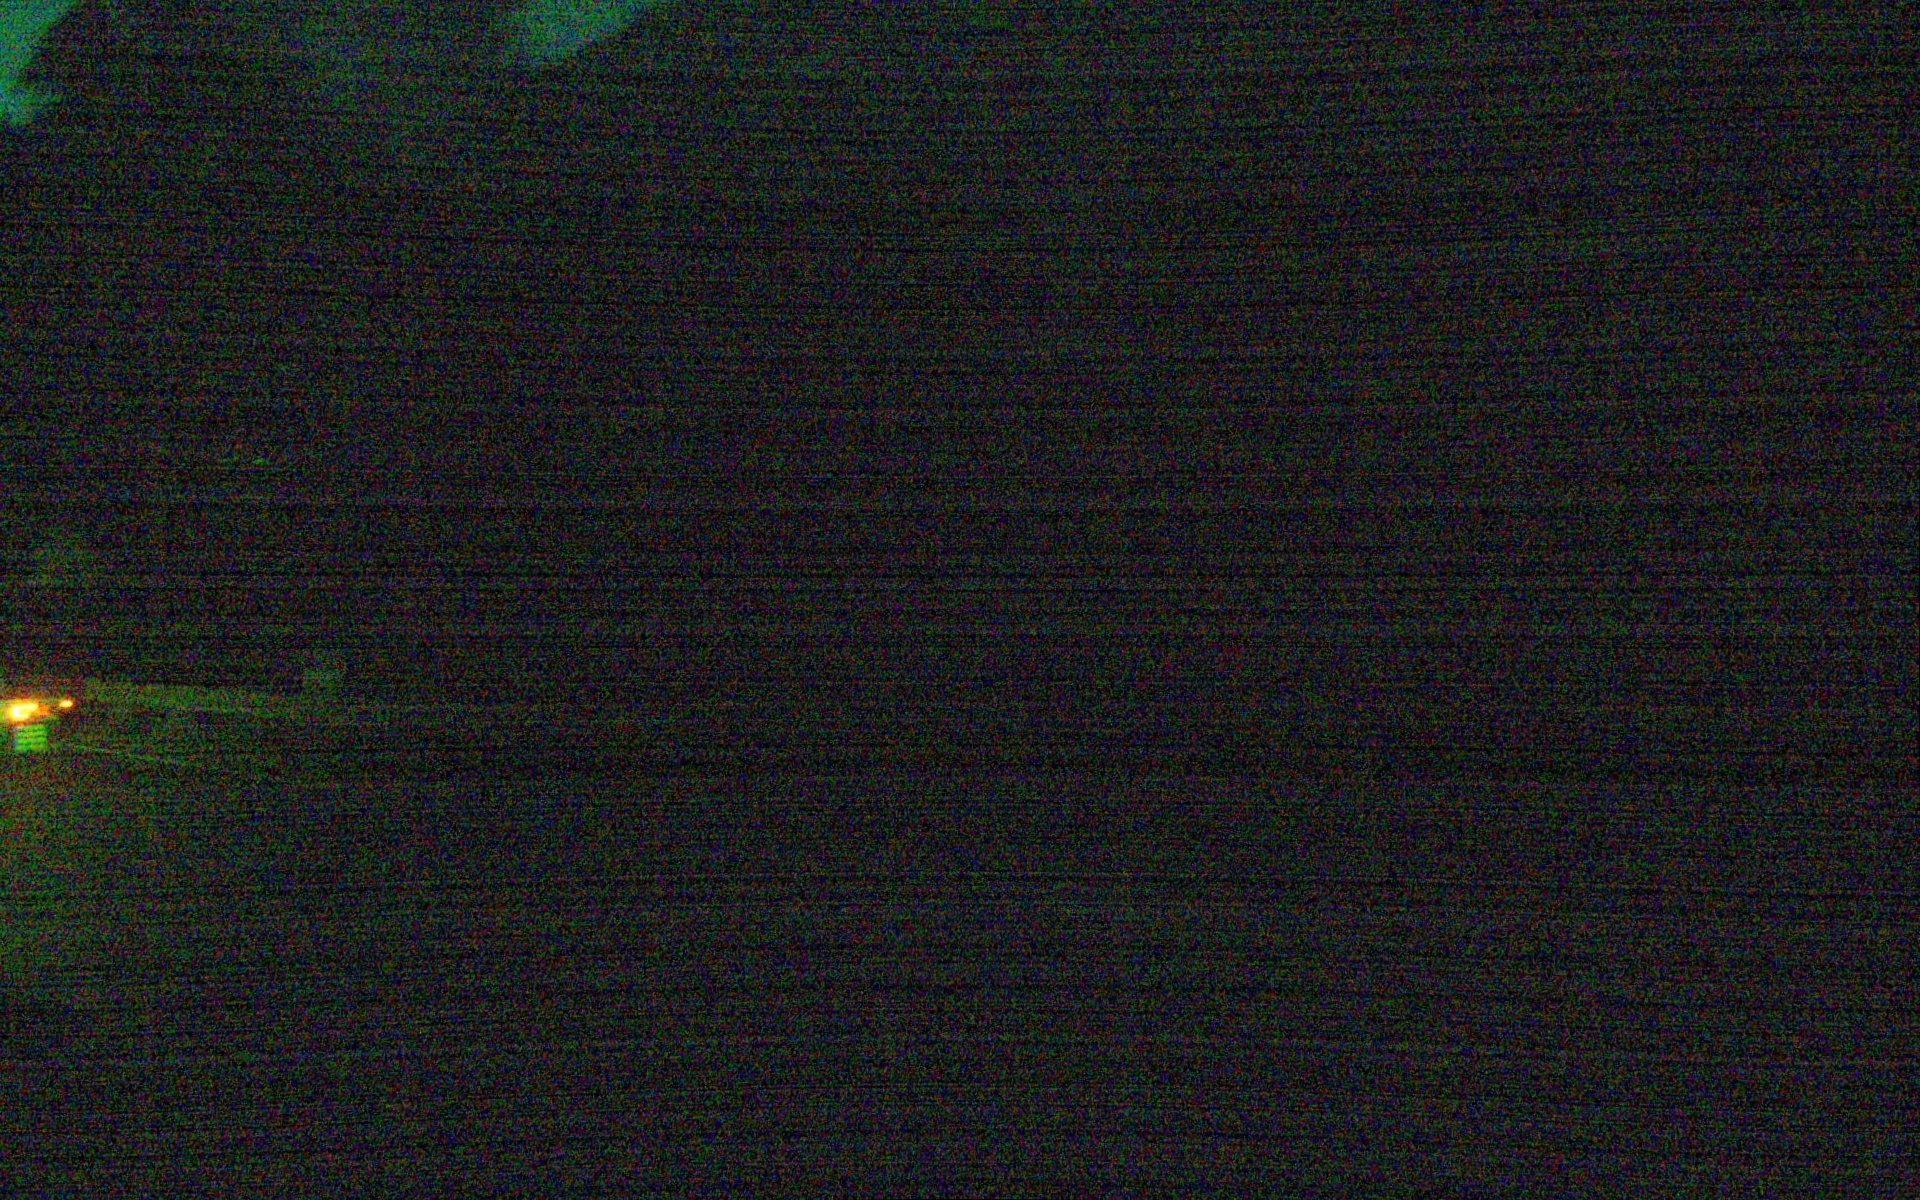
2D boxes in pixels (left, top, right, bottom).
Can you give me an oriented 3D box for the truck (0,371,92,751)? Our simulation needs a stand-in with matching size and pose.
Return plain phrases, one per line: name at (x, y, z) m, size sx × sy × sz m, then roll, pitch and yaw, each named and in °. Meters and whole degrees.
truck at (-16.276, -0.312, 13.924) m, size 12.953 × 4.158 × 2.683 m, roll -1°, pitch -2°, yaw 32°
